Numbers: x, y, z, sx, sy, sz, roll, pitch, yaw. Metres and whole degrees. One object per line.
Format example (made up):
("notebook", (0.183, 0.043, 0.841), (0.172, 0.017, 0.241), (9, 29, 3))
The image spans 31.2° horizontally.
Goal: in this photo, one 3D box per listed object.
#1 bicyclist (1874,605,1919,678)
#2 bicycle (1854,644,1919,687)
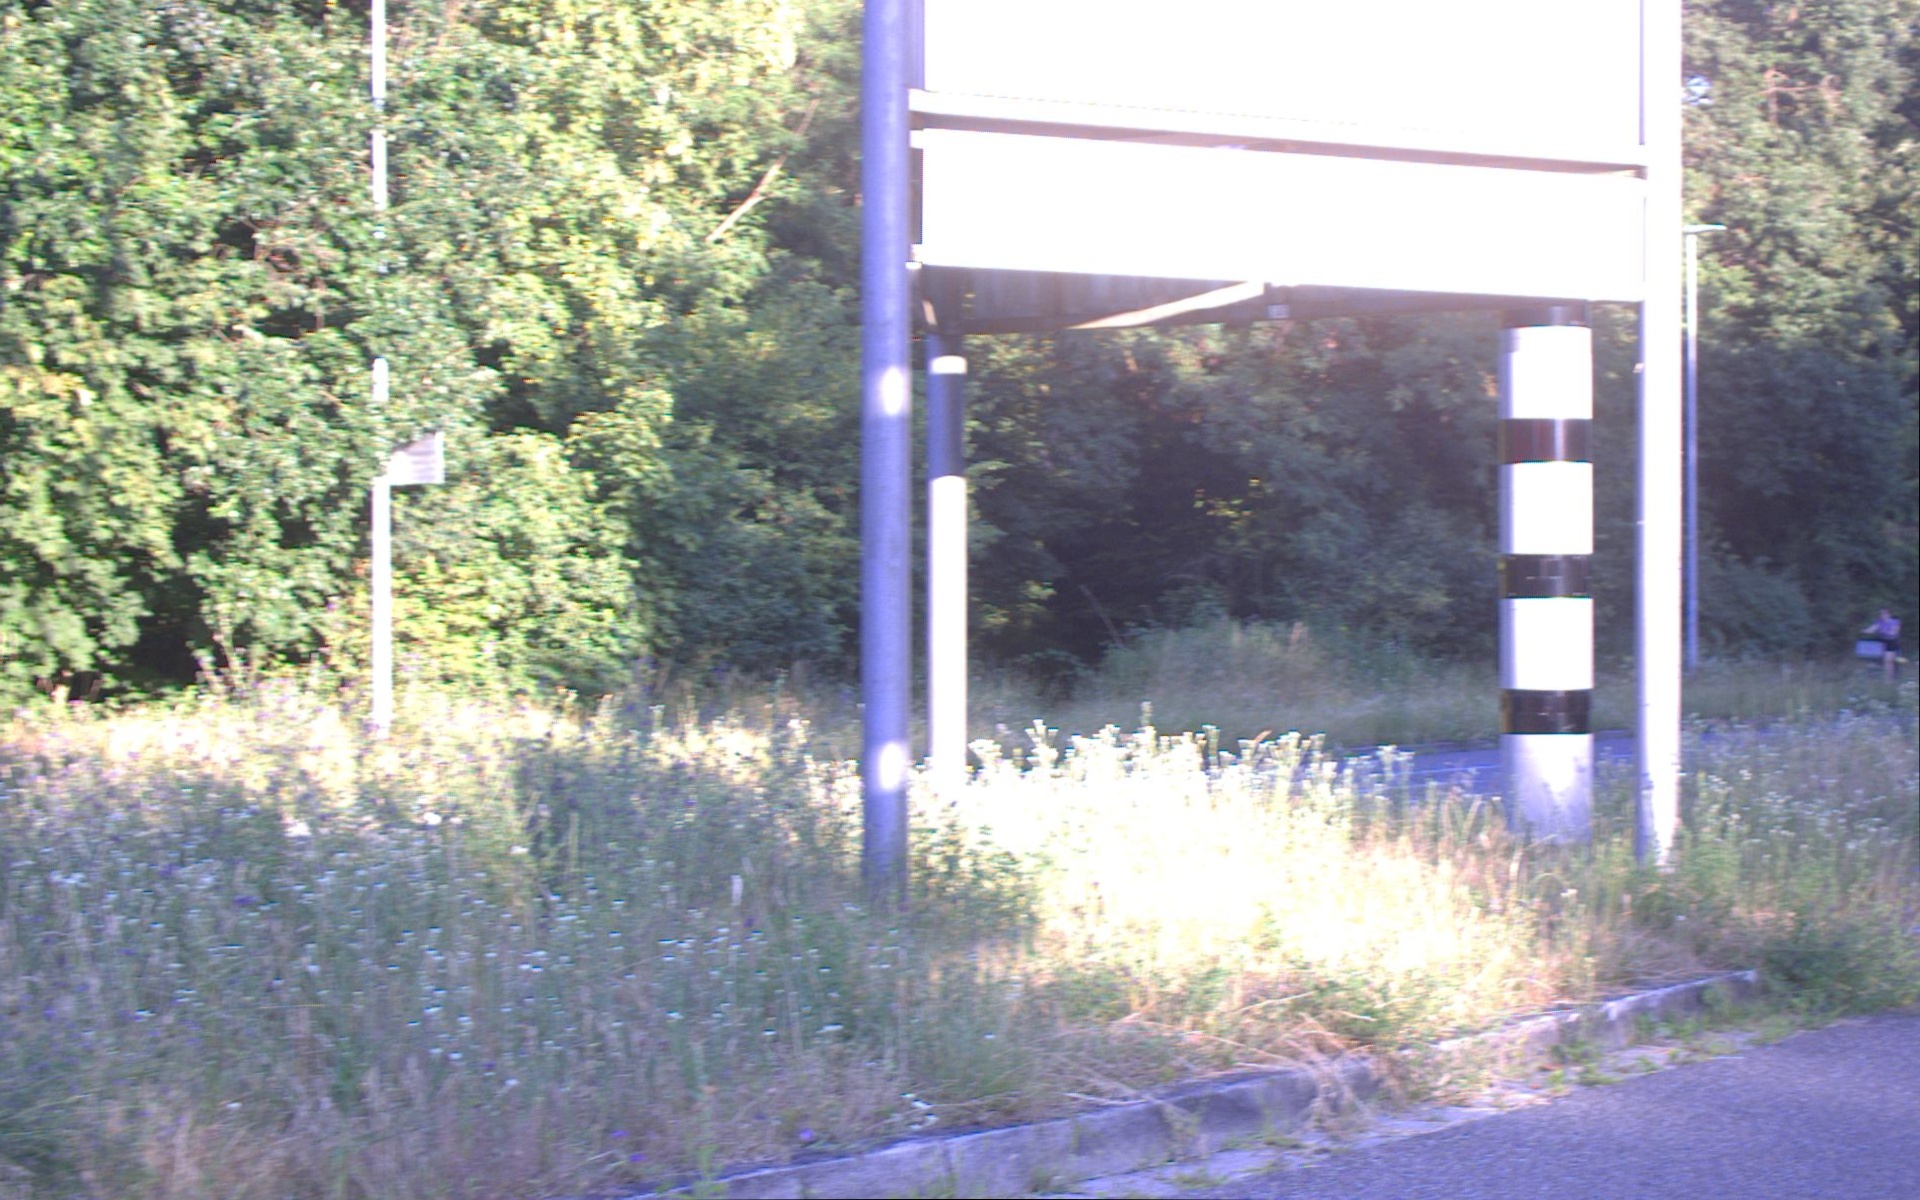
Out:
("bicyclist", (18.261, 0.803, 66.979), (0.587, 1.425, 0.820), (-1, 0, 40))
("bicycle", (18.197, 1.271, 67.256), (0.587, 0.802, 1.954), (-1, 0, 40))
